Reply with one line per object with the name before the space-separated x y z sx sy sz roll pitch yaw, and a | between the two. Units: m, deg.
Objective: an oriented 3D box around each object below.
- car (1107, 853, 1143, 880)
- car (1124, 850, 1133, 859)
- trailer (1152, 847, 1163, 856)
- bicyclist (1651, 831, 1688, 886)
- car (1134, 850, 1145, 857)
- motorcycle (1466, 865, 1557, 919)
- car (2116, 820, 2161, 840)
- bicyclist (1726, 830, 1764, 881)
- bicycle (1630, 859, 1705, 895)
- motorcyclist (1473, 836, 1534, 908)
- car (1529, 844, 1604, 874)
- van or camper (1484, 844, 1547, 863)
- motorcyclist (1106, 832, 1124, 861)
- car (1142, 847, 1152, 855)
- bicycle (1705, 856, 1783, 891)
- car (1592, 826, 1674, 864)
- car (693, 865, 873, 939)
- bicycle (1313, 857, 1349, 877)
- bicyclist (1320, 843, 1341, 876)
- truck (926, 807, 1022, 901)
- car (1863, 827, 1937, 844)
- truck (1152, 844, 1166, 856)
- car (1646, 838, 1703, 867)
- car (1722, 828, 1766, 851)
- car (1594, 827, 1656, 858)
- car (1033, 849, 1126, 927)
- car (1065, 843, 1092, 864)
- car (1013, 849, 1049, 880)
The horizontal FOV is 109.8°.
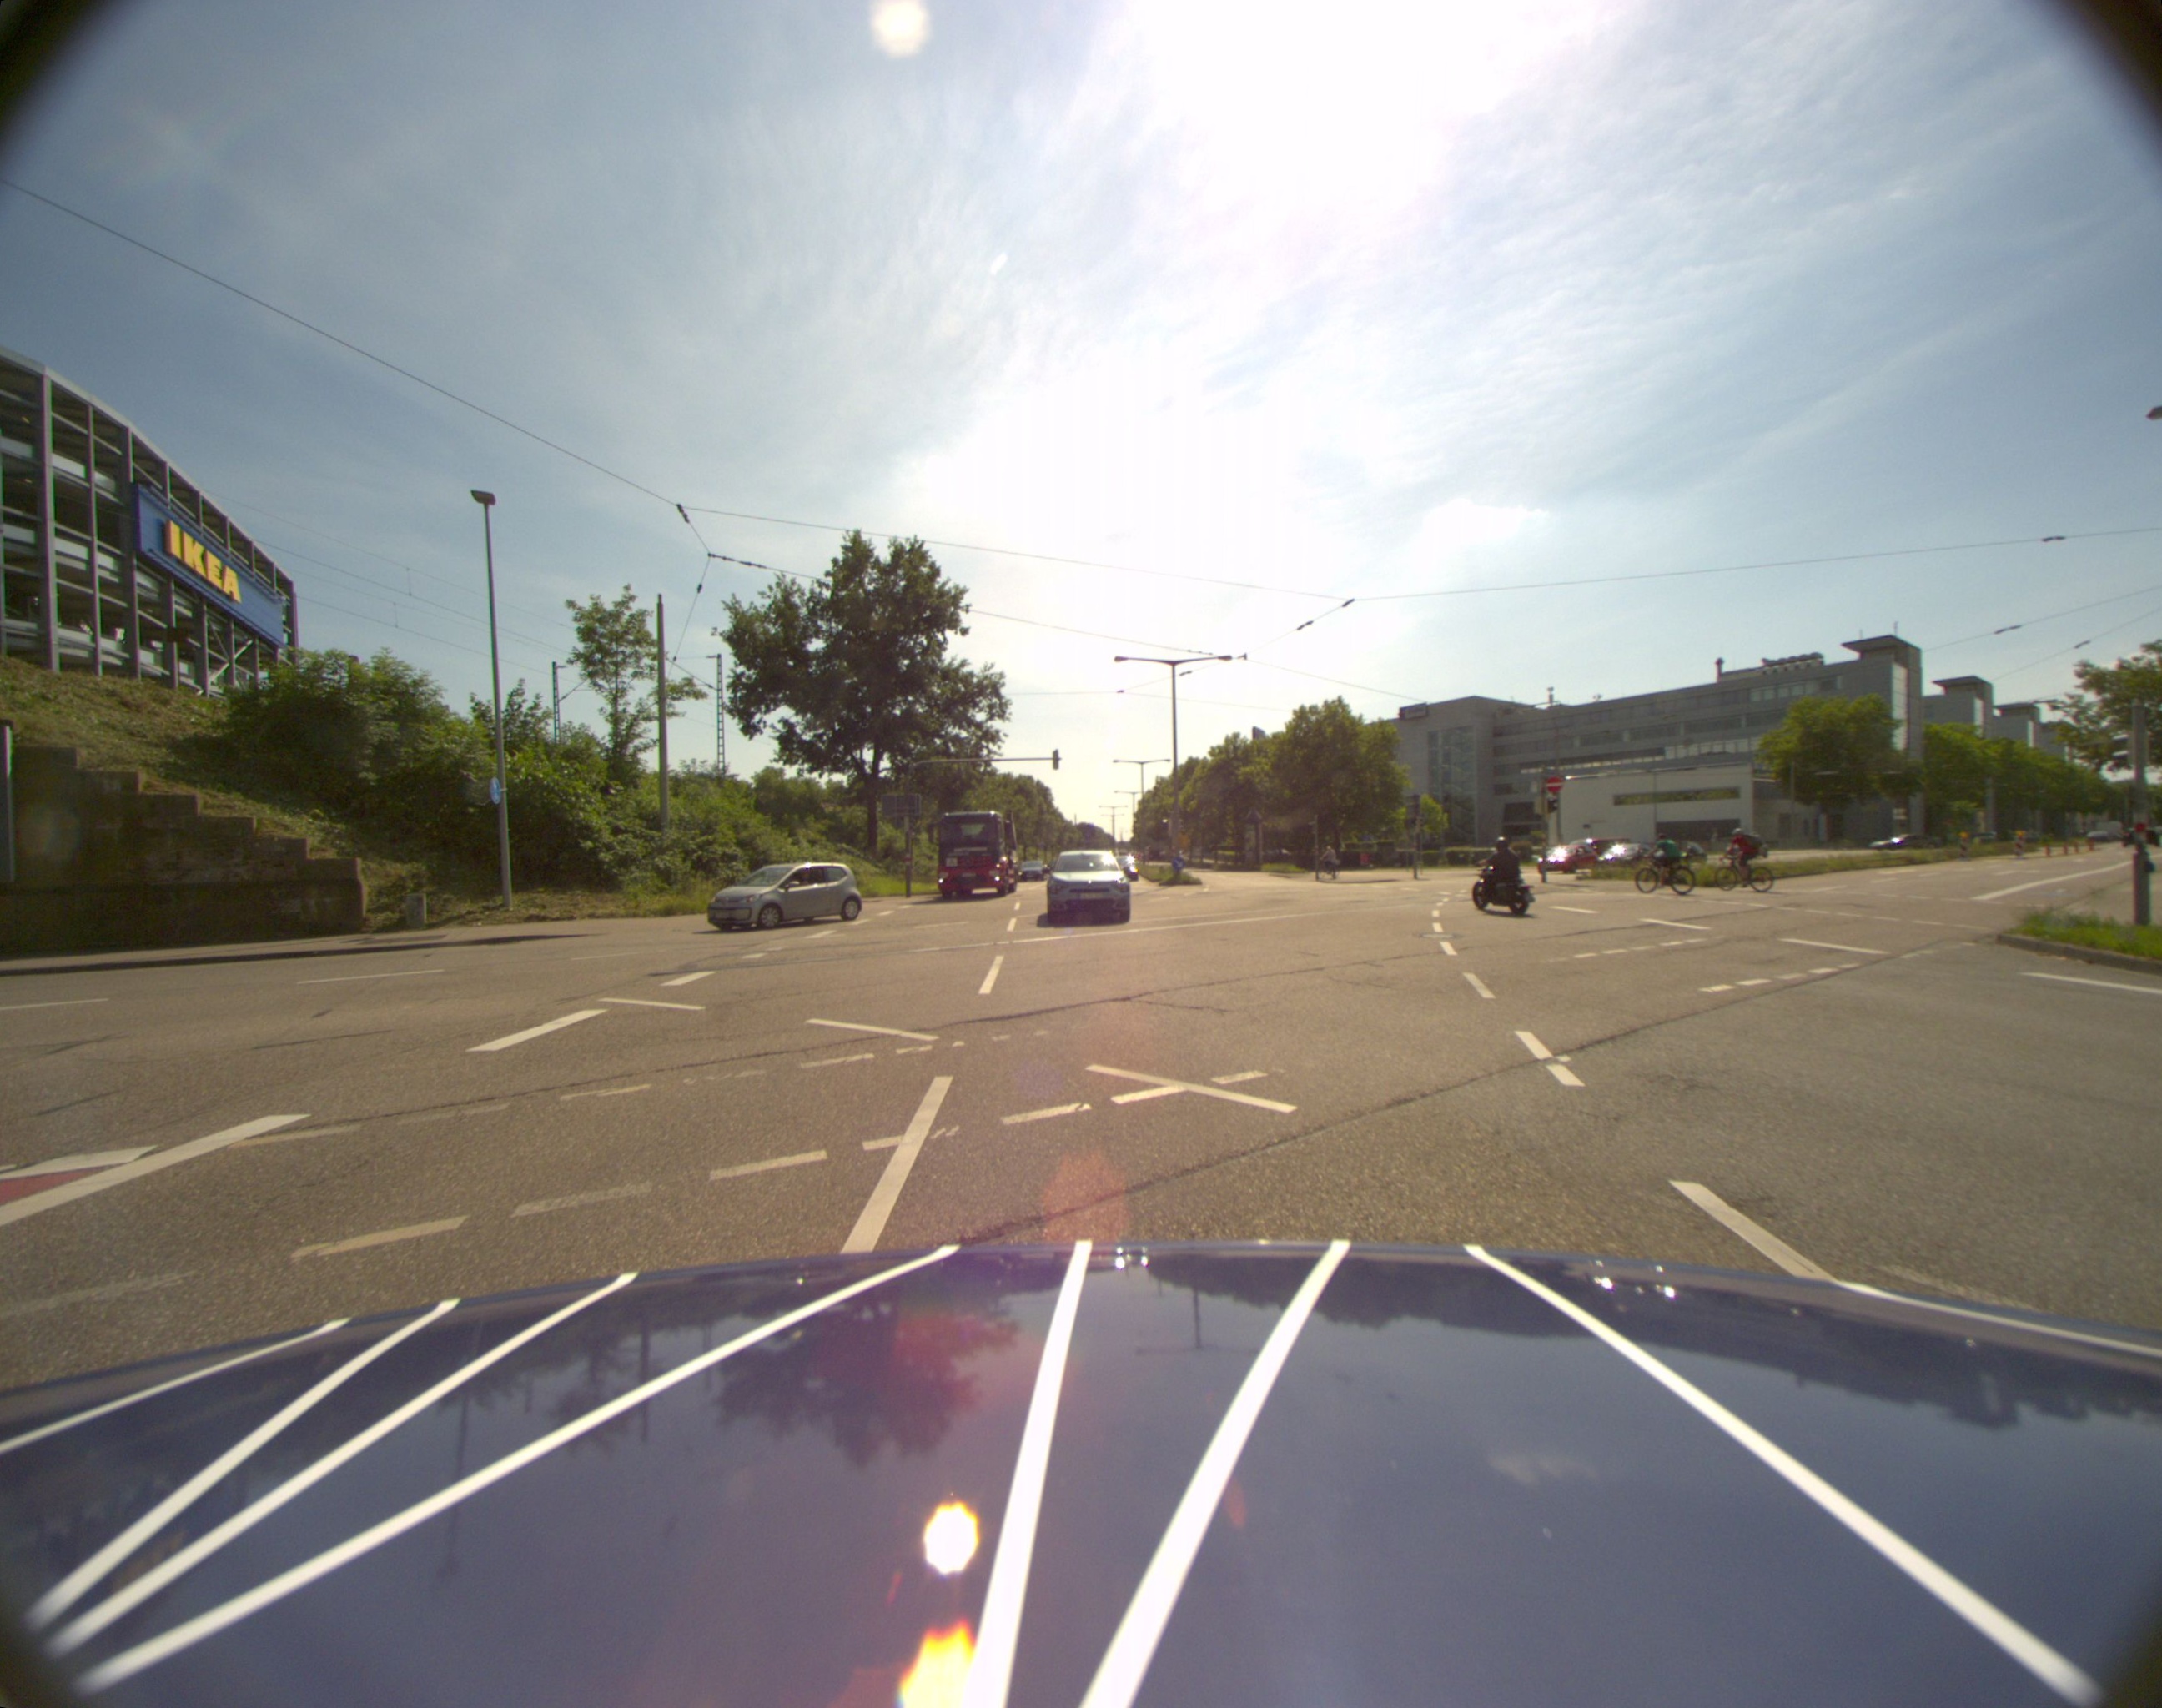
car | 2.444 0.683 43.046 1.730 1.354 4.067 -3 1 1
car | 11.143 0.021 178.623 1.998 2.002 4.000 -2 1 2
trailer | 15.303 -0.591 152.451 2.066 1.706 3.992 -2 1 7
bicyclist | 16.299 0.112 21.048 0.529 1.483 0.609 -2 1 -5
car | 12.189 -0.039 158.492 1.852 1.426 3.767 -1 0 1
motorcycle | 8.977 0.756 15.952 0.689 0.985 2.217 -2 1 2
car | 85.232 -1.944 61.092 4.228 1.435 1.786 -2 1 -28
bicyclist | 18.782 0.028 21.490 0.529 1.406 0.608 -2 1 -13
bicycle | 16.308 0.619 21.185 0.417 0.932 1.996 -2 1 -5
motorcyclist | 8.976 0.371 16.179 0.745 1.462 0.987 -2 1 2
car | 25.570 0.226 39.990 4.007 1.441 1.842 -2 1 -34
van or camper | 39.150 -0.025 68.545 2.003 1.682 4.501 -2 1 -36
motorcyclist | 2.097 -0.461 46.721 1.066 1.689 1.042 -2 1 1
car | 12.087 -0.556 139.122 1.653 1.505 3.736 -2 1 2
bicycle | 18.780 0.536 21.564 0.435 0.932 1.749 -2 1 -13
car | 35.633 -0.605 49.018 5.047 2.265 2.147 -2 1 -26
car | -6.836 1.029 17.807 1.701 1.429 3.684 -1 1 28
bicycle | 13.804 0.708 41.980 2.168 1.058 0.524 -2 1 -27
bicyclist | 13.763 0.280 41.950 0.769 1.778 0.704 -2 1 -28
truck | -4.056 -0.022 30.557 2.776 3.248 7.481 -1 1 -1
car | 74.870 -1.700 69.538 4.213 1.435 1.792 -1 1 21
truck | 16.300 -0.830 158.006 2.143 2.461 7.134 -1 0 11
car | 37.010 -0.093 47.380 4.007 1.689 1.994 -2 1 -40
car | 51.453 -1.117 58.950 4.007 1.689 1.995 -2 1 -40
car | 31.263 -0.662 43.615 4.008 1.689 1.994 -2 1 -41
car | 0.089 0.671 17.686 1.825 1.521 4.752 -2 1 3
car | -0.145 -0.066 60.786 1.825 1.521 4.548 -2 1 3
car | -3.347 0.683 51.829 1.998 2.002 4.000 -2 1 2
